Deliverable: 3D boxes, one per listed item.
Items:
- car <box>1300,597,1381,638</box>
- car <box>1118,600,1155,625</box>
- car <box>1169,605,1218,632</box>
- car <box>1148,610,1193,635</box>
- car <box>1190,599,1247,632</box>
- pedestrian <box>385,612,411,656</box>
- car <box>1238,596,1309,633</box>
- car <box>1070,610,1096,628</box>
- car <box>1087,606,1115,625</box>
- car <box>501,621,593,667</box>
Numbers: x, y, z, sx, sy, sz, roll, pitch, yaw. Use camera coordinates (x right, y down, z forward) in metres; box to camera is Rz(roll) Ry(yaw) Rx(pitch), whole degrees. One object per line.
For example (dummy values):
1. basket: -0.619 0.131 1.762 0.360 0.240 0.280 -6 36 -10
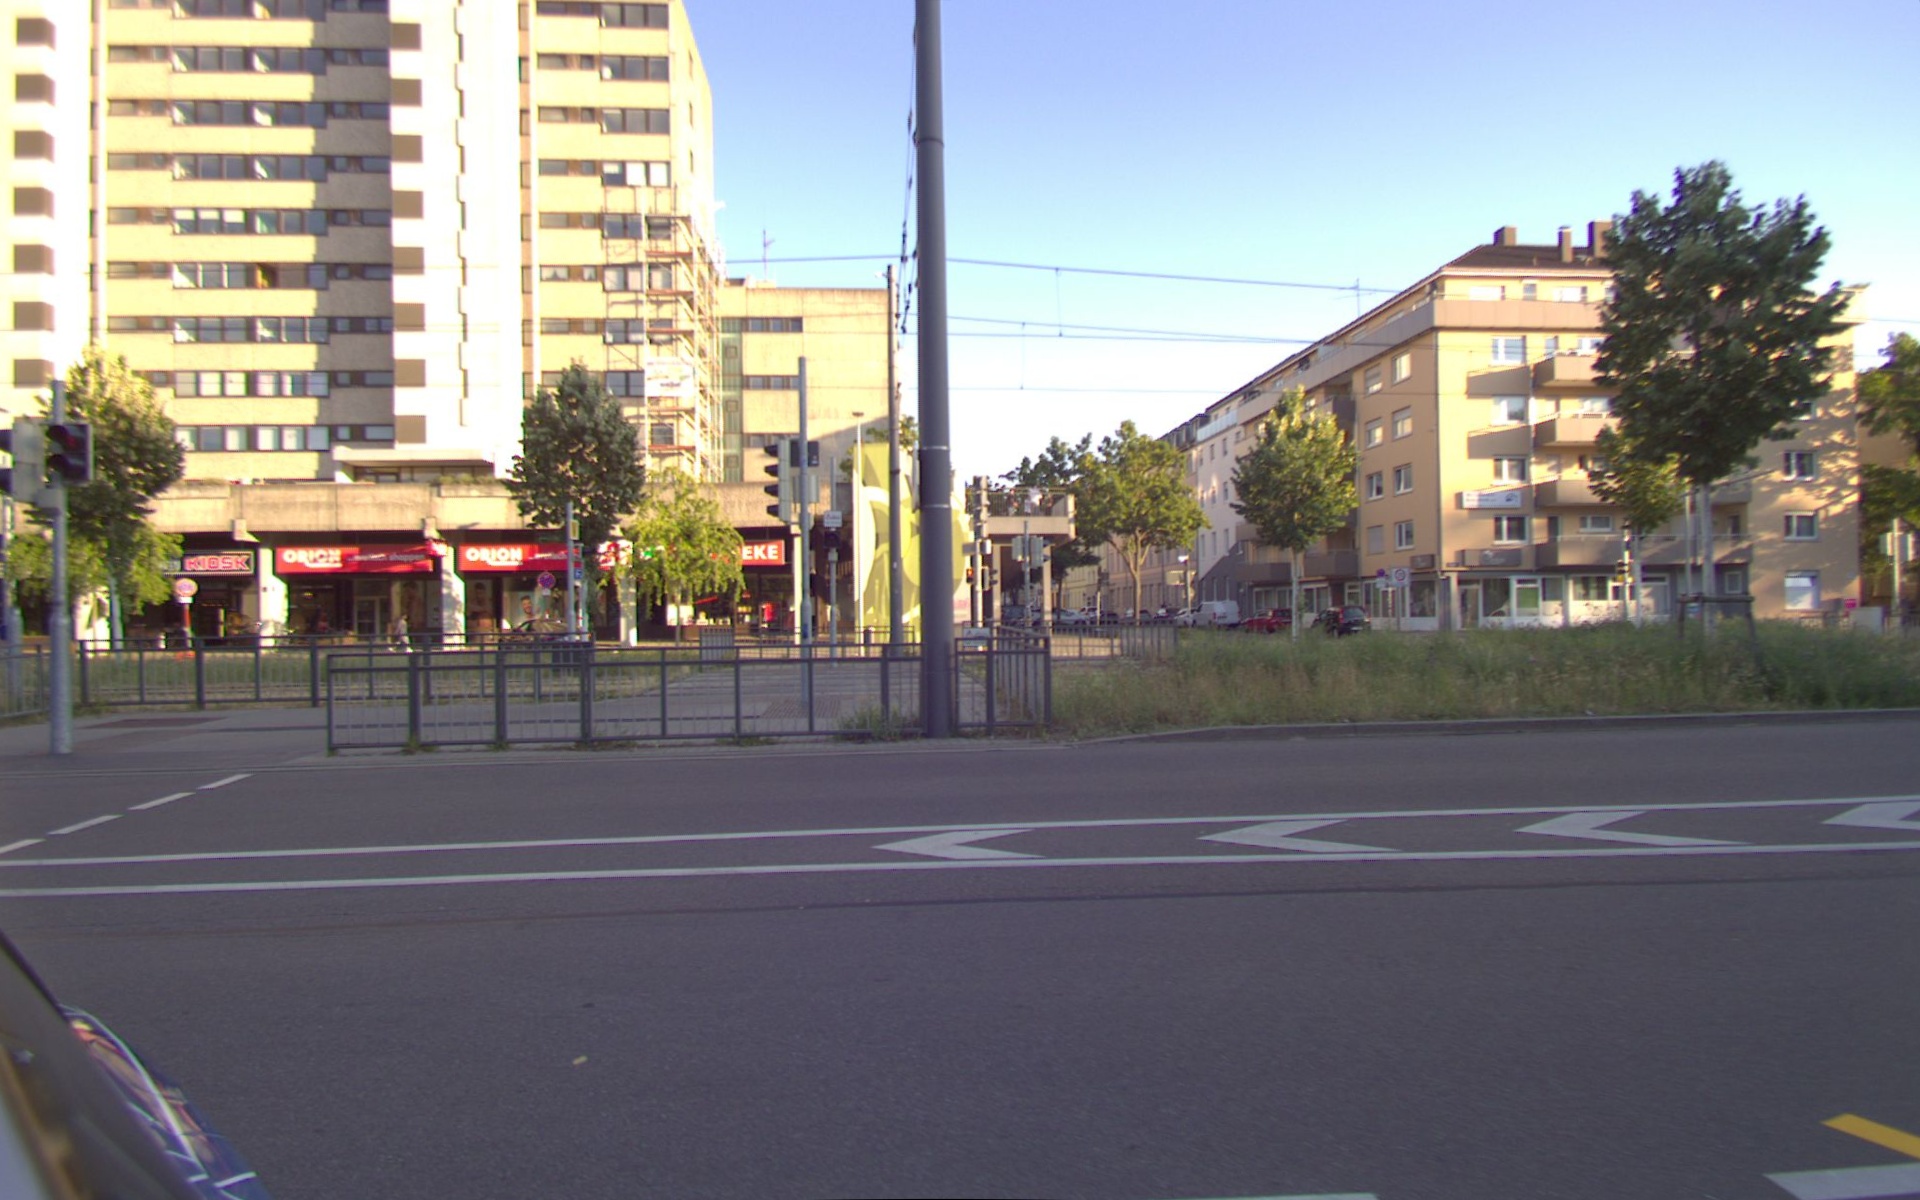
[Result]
1. car: 18.386 0.824 49.099 2.158 1.859 3.951 -1 -1 -5
2. car: 14.977 1.102 85.935 1.960 1.799 3.911 -3 -3 -7
3. car: 16.412 1.281 71.445 2.084 1.769 4.348 -1 -1 -5
4. car: 15.911 1.673 76.658 2.084 1.769 4.348 -1 -1 -5
5. car: 16.832 1.014 66.104 2.133 2.005 4.507 -1 -1 -5
6. pedestrian: -22.255 1.339 40.063 0.652 1.674 0.666 -1 0 -1
7. car: 17.750 0.852 57.492 2.133 1.783 4.349 -2 -3 -7
8. car: 12.686 1.982 104.682 1.699 1.530 4.008 -3 -3 -5
9. car: 13.485 1.515 96.849 1.699 1.530 4.008 -3 -3 -5
10. car: -14.334 1.499 35.073 1.718 1.461 3.733 0 -1 -43
